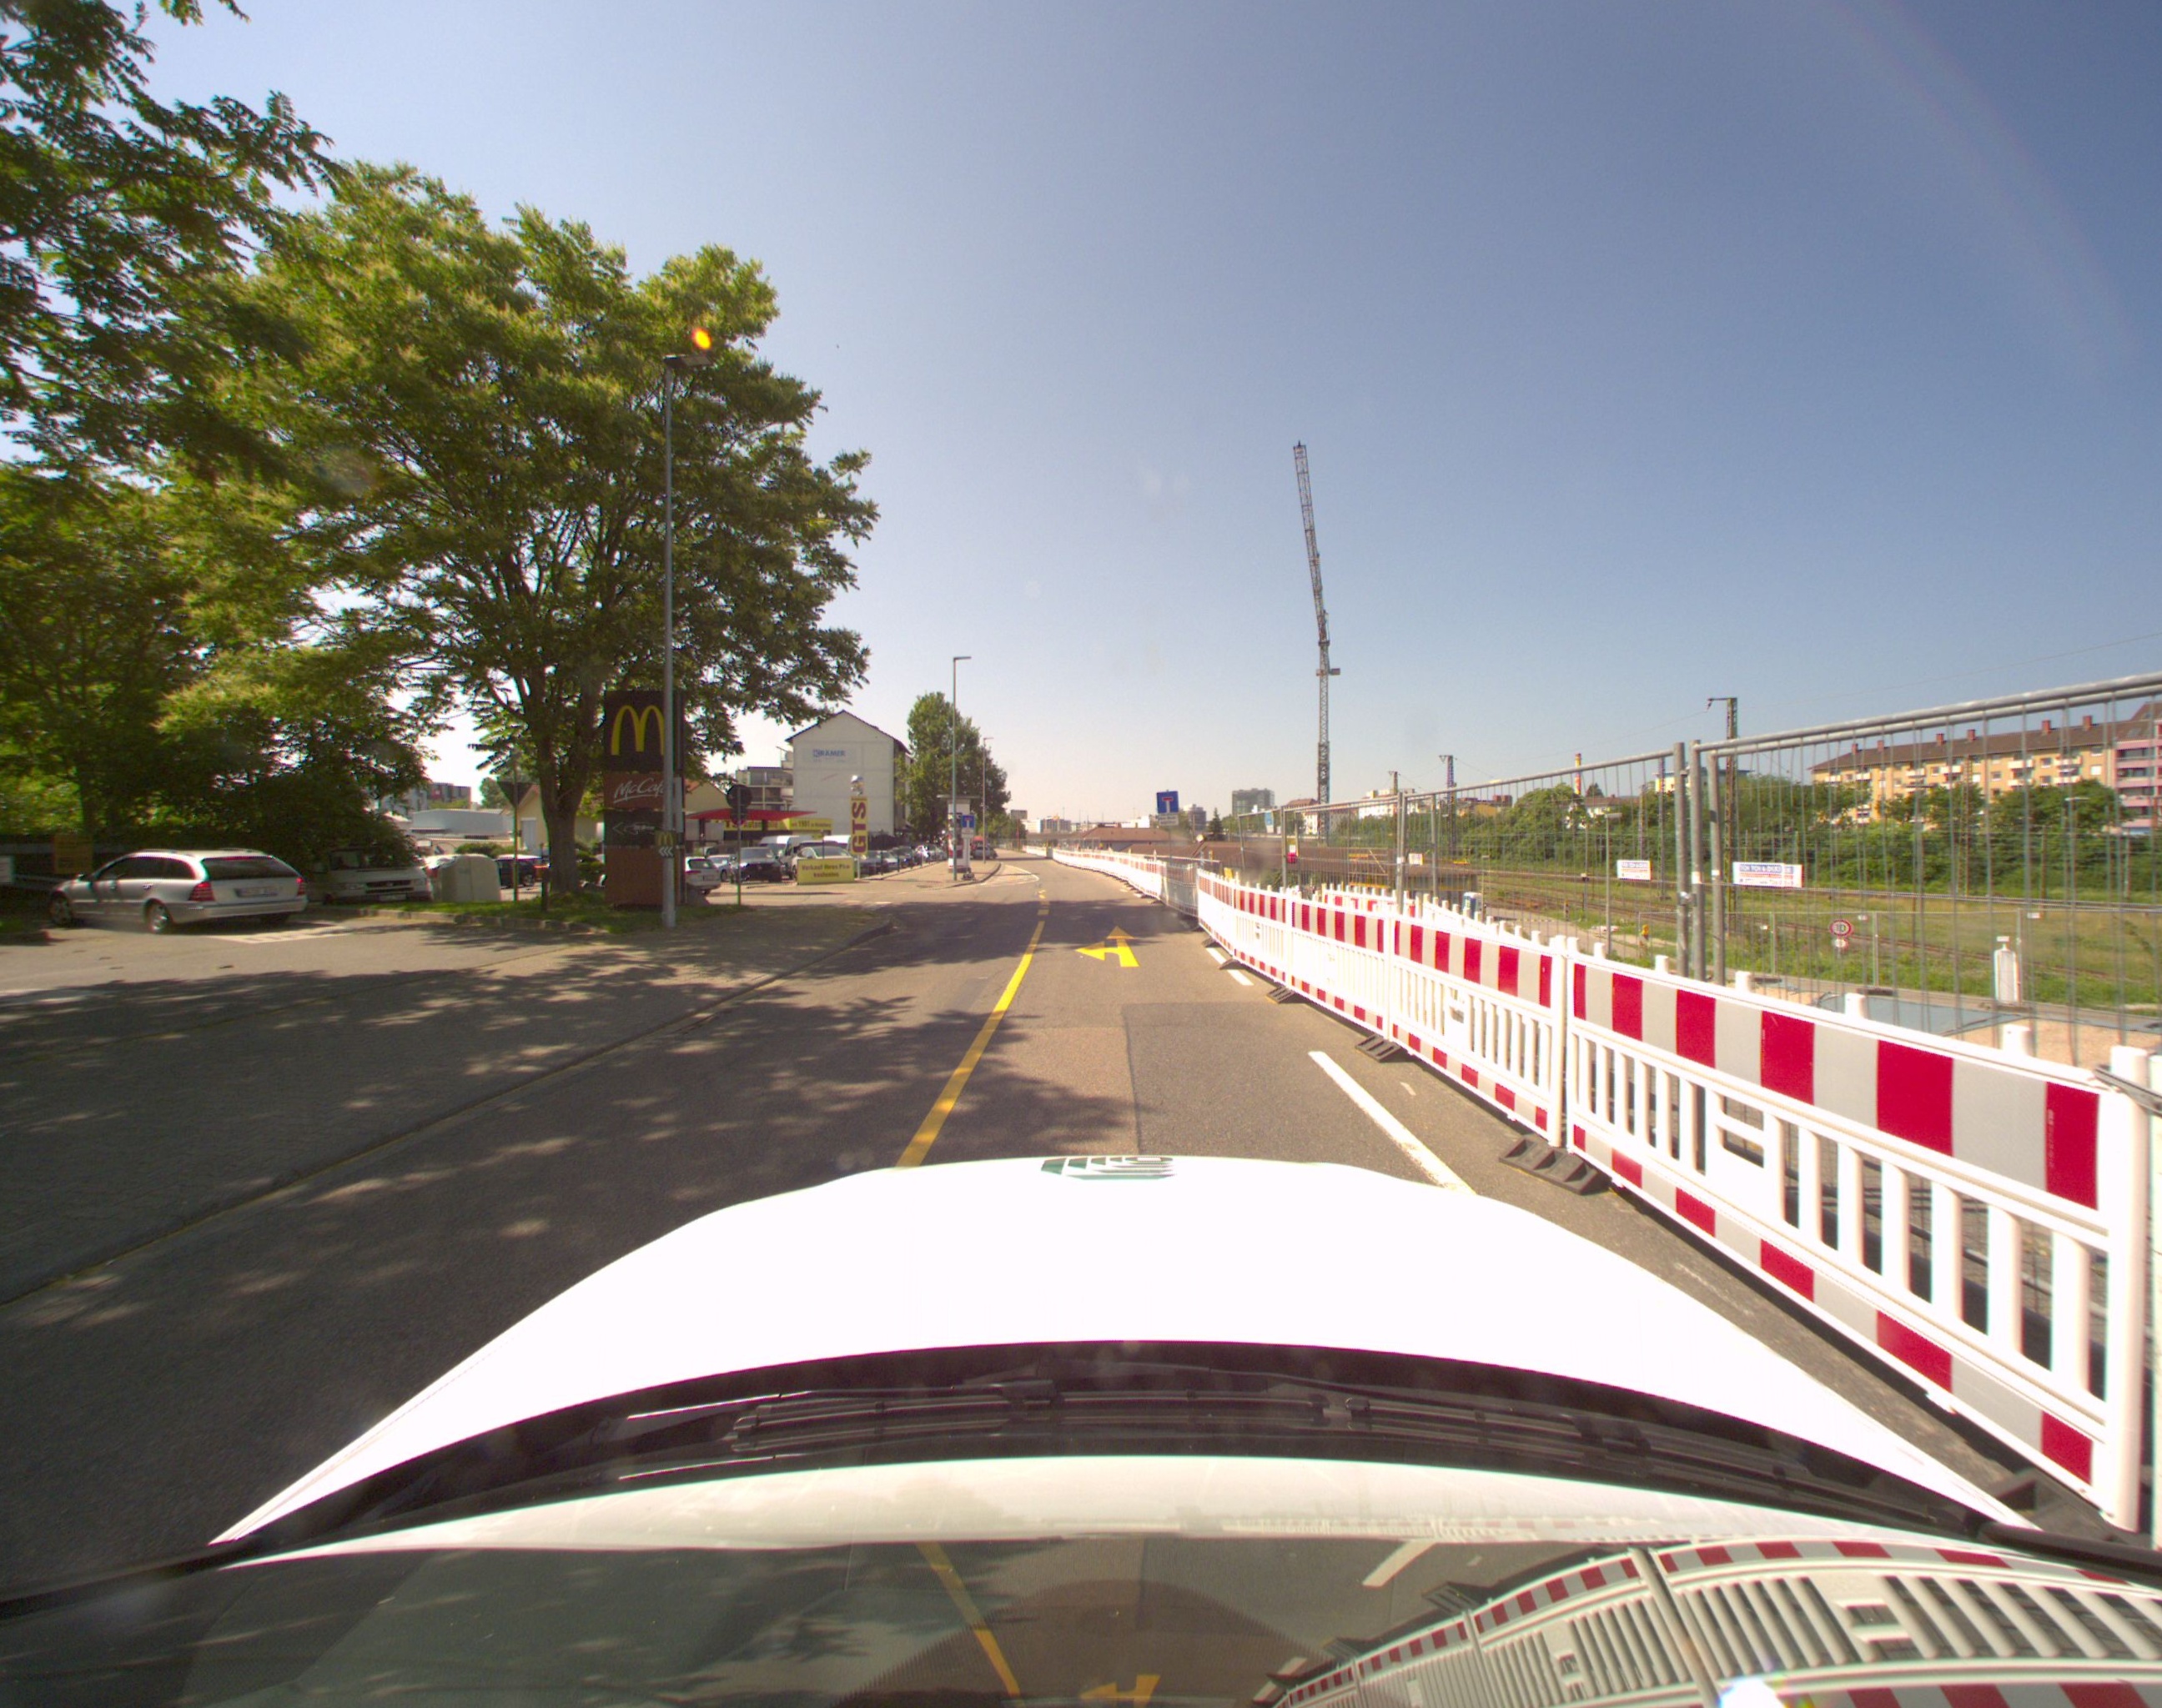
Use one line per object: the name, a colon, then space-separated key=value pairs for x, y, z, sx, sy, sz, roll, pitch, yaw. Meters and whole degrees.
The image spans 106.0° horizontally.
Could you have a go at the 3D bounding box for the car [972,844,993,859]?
car: x=-10.640 y=-0.314 z=88.012 sx=1.864 sy=1.498 sz=4.029 roll=-1 pitch=2 yaw=-2

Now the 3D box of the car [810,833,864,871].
car: x=-16.910 y=-0.134 z=56.776 sx=2.242 sy=2.430 sz=5.710 roll=2 pitch=-1 yaw=-4

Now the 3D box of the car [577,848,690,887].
car: x=-23.784 y=0.667 z=43.404 sx=4.920 sy=1.842 sz=2.136 roll=-2 pitch=1 yaw=-43

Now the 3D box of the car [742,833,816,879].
car: x=-19.449 y=0.133 z=52.817 sx=2.268 sy=2.758 sz=6.156 roll=-1 pitch=0 yaw=2

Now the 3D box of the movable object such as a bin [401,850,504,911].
movable object such as a bin: x=-17.614 y=0.734 z=22.870 sx=1.755 sy=1.526 sz=1.463 roll=-2 pitch=3 yaw=20

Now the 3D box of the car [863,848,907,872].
car: x=-13.388 y=0.406 z=55.443 sx=1.792 sy=1.472 sz=3.961 roll=-4 pitch=1 yaw=-31

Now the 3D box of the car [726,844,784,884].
car: x=-15.059 y=0.476 z=37.494 sx=2.054 sy=1.707 sz=4.276 roll=-2 pitch=-1 yaw=-27

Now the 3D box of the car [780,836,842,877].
car: x=-16.638 y=0.158 z=50.434 sx=2.239 sy=2.350 sz=4.822 roll=-1 pitch=-1 yaw=-1

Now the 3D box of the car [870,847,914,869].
car: x=-13.878 y=0.283 z=59.611 sx=1.680 sy=1.472 sz=3.956 roll=-4 pitch=2 yaw=-36

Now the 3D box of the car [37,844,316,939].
car: x=-16.519 y=0.601 z=14.900 sx=4.337 sy=1.403 sz=1.723 roll=1 pitch=3 yaw=18

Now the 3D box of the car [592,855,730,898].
car: x=-15.574 y=0.832 z=30.239 sx=4.557 sy=1.493 sz=1.689 roll=-1 pitch=0 yaw=15

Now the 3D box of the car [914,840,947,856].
car: x=-18.335 y=-0.739 z=99.164 sx=3.927 sy=1.958 sz=1.752 roll=1 pitch=0 yaw=-13

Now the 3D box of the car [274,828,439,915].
car: x=-18.509 y=0.469 z=20.758 sx=4.466 sy=1.920 sz=1.905 roll=-3 pitch=1 yaw=33

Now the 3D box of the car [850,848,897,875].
car: x=-12.769 y=0.430 z=50.044 sx=1.847 sy=1.472 sz=3.963 roll=-4 pitch=1 yaw=-28

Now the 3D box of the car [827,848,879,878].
car: x=-12.483 y=0.497 z=44.498 sx=1.847 sy=1.472 sz=3.963 roll=-4 pitch=1 yaw=-28

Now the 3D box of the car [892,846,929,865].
car: x=-14.381 y=0.172 z=68.641 sx=1.679 sy=1.472 sz=3.958 roll=-4 pitch=2 yaw=-33

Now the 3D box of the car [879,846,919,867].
car: x=-14.345 y=0.217 z=64.027 sx=1.679 sy=1.472 sz=3.958 roll=-4 pitch=1 yaw=-33

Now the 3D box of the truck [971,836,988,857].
truck: x=-13.352 y=-0.967 z=107.236 sx=2.236 sy=2.648 sz=5.668 roll=-1 pitch=0 yaw=-7

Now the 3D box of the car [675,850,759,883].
car: x=-19.611 y=0.629 z=44.170 sx=1.898 sy=1.574 sz=4.698 roll=-1 pitch=1 yaw=8

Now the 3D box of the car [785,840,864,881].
car: x=-12.531 y=0.344 z=39.651 sx=1.992 sy=1.706 sz=4.609 roll=-3 pitch=-1 yaw=-40

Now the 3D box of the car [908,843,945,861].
car: x=-13.693 y=-0.175 z=72.228 sx=1.789 sy=1.472 sz=3.958 roll=-4 pitch=1 yaw=-33

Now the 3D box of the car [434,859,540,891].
car: x=-31.435 y=1.076 z=43.239 sx=1.848 sy=1.489 sz=4.155 roll=-1 pitch=1 yaw=22

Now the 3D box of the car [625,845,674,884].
car: x=-20.232 y=0.471 z=38.083 sx=1.816 sy=1.656 sz=4.273 roll=-2 pitch=1 yaw=-30
